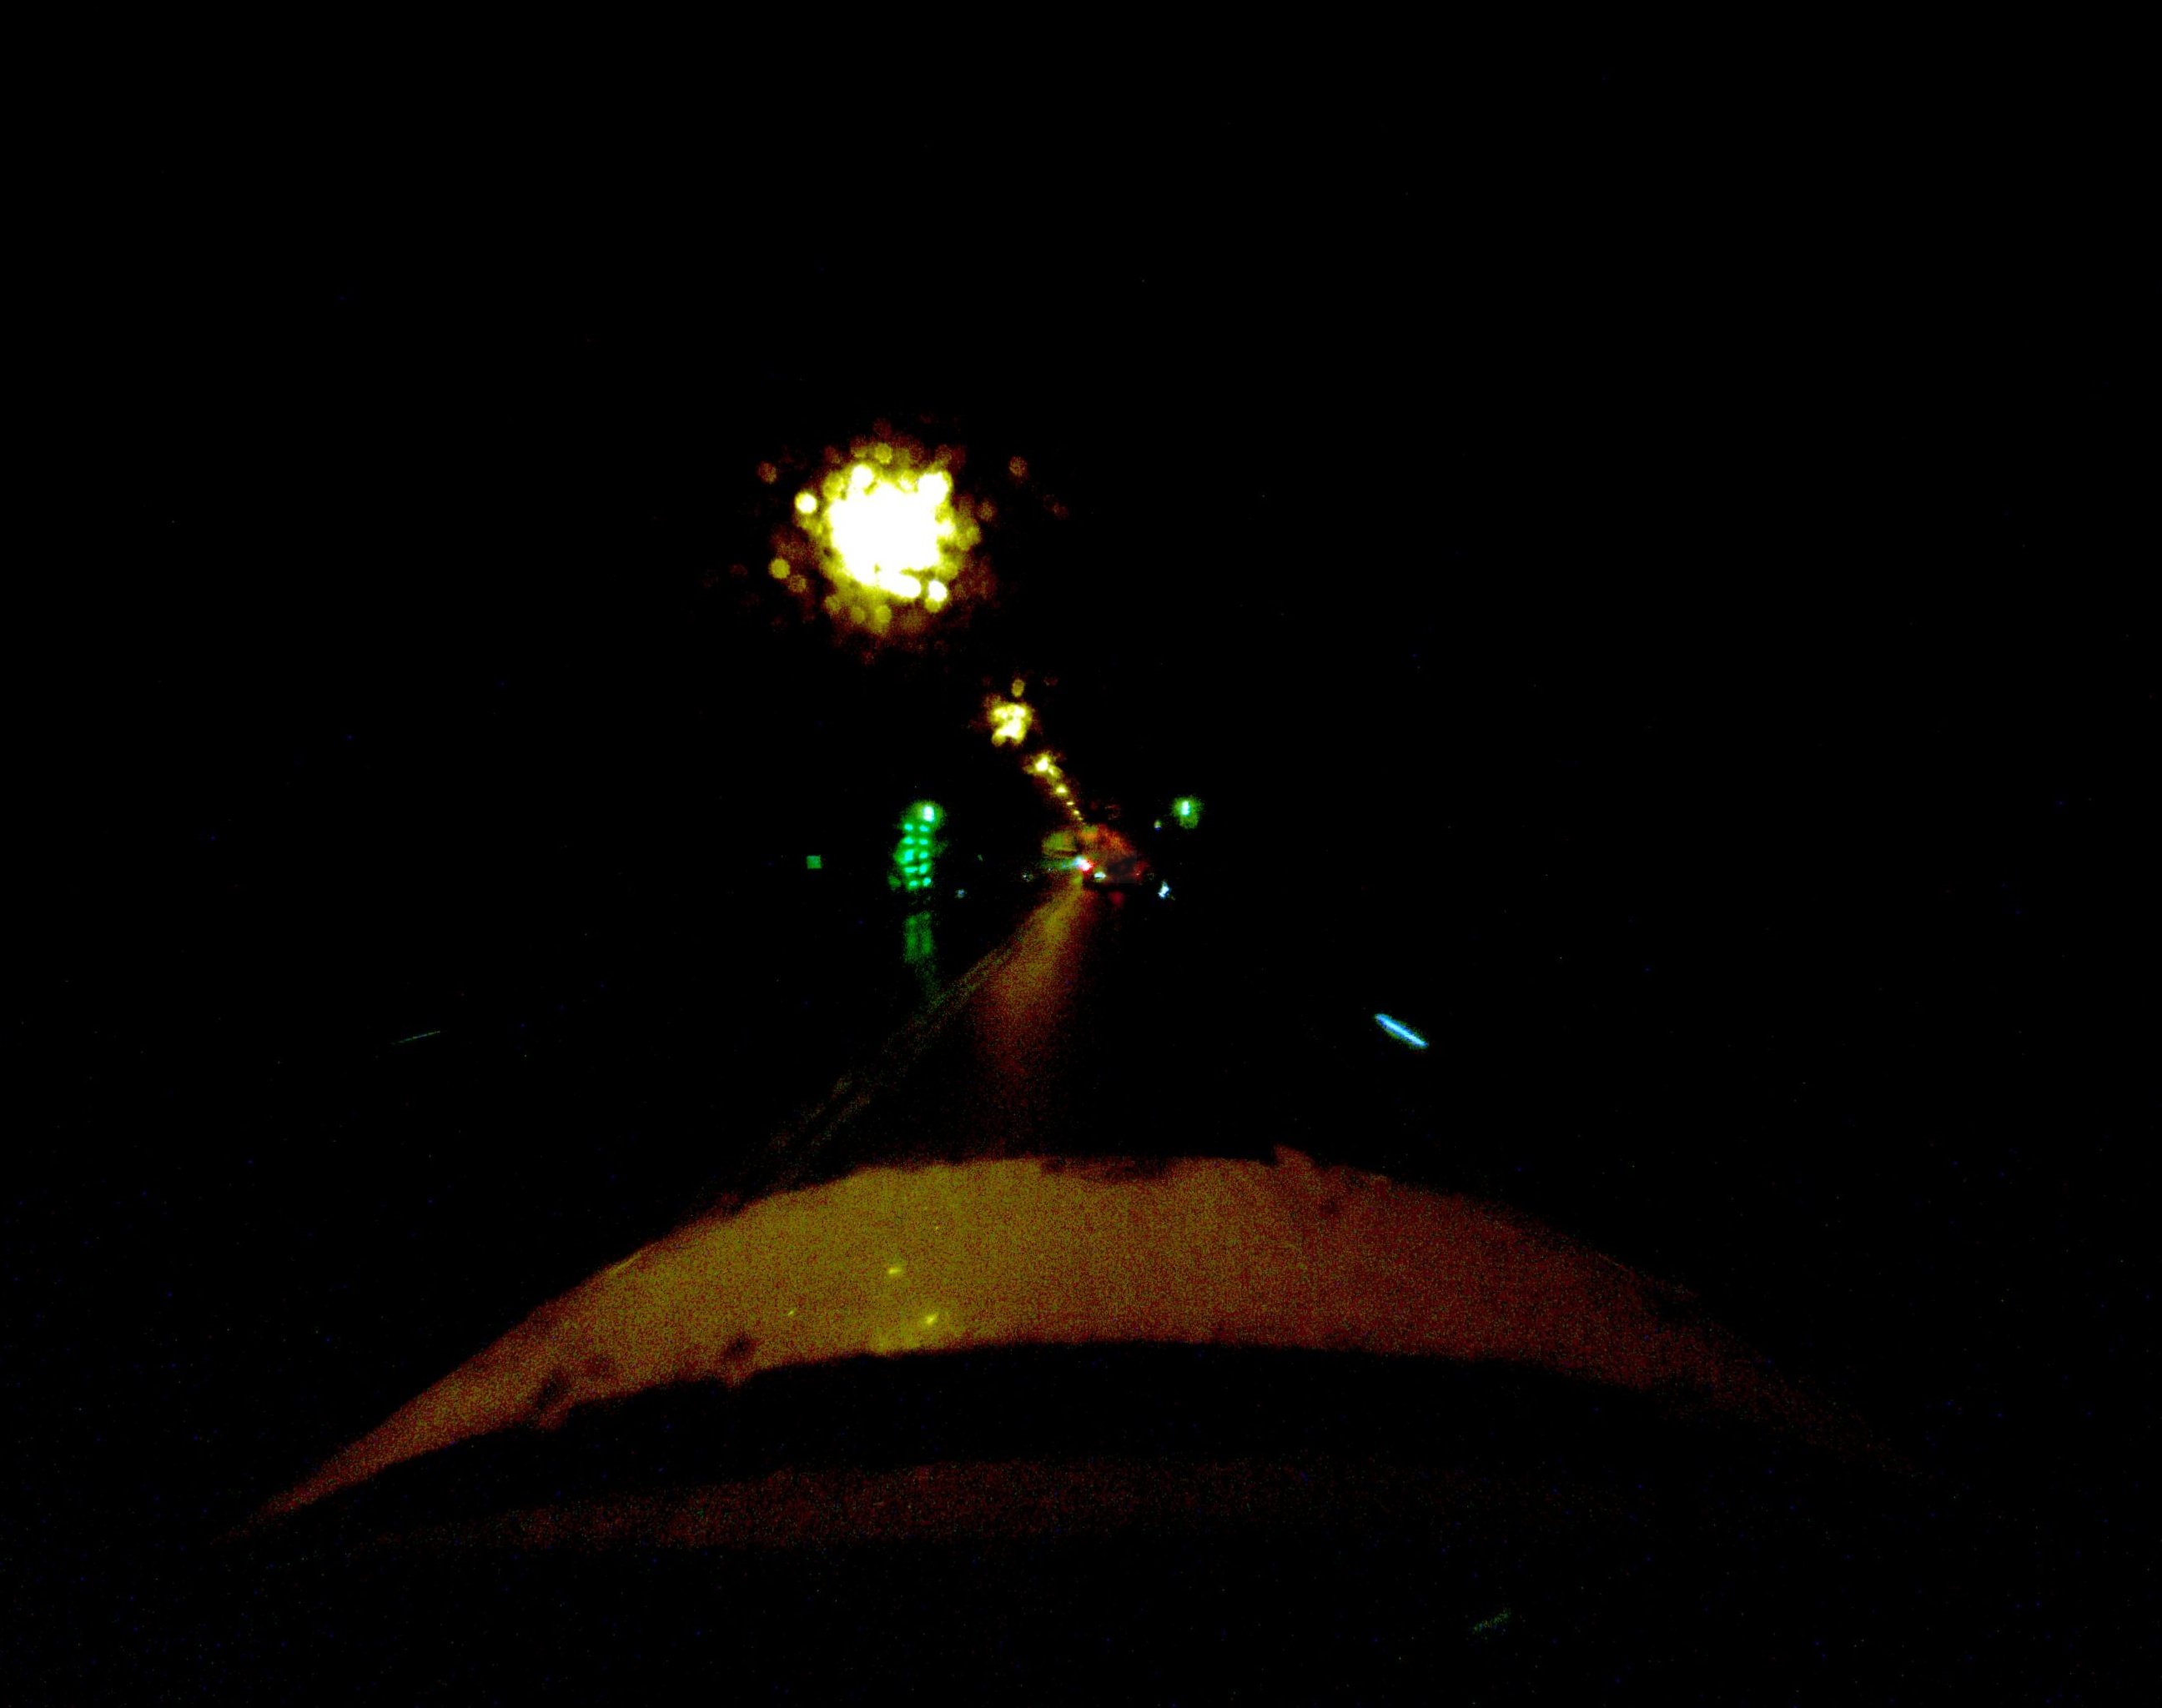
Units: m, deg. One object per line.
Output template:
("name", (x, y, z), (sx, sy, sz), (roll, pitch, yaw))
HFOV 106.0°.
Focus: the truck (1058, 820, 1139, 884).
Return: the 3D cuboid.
("truck", (0.959, -0.101, 41.237), (3.522, 2.693, 8.960), (-3, 0, 2))
